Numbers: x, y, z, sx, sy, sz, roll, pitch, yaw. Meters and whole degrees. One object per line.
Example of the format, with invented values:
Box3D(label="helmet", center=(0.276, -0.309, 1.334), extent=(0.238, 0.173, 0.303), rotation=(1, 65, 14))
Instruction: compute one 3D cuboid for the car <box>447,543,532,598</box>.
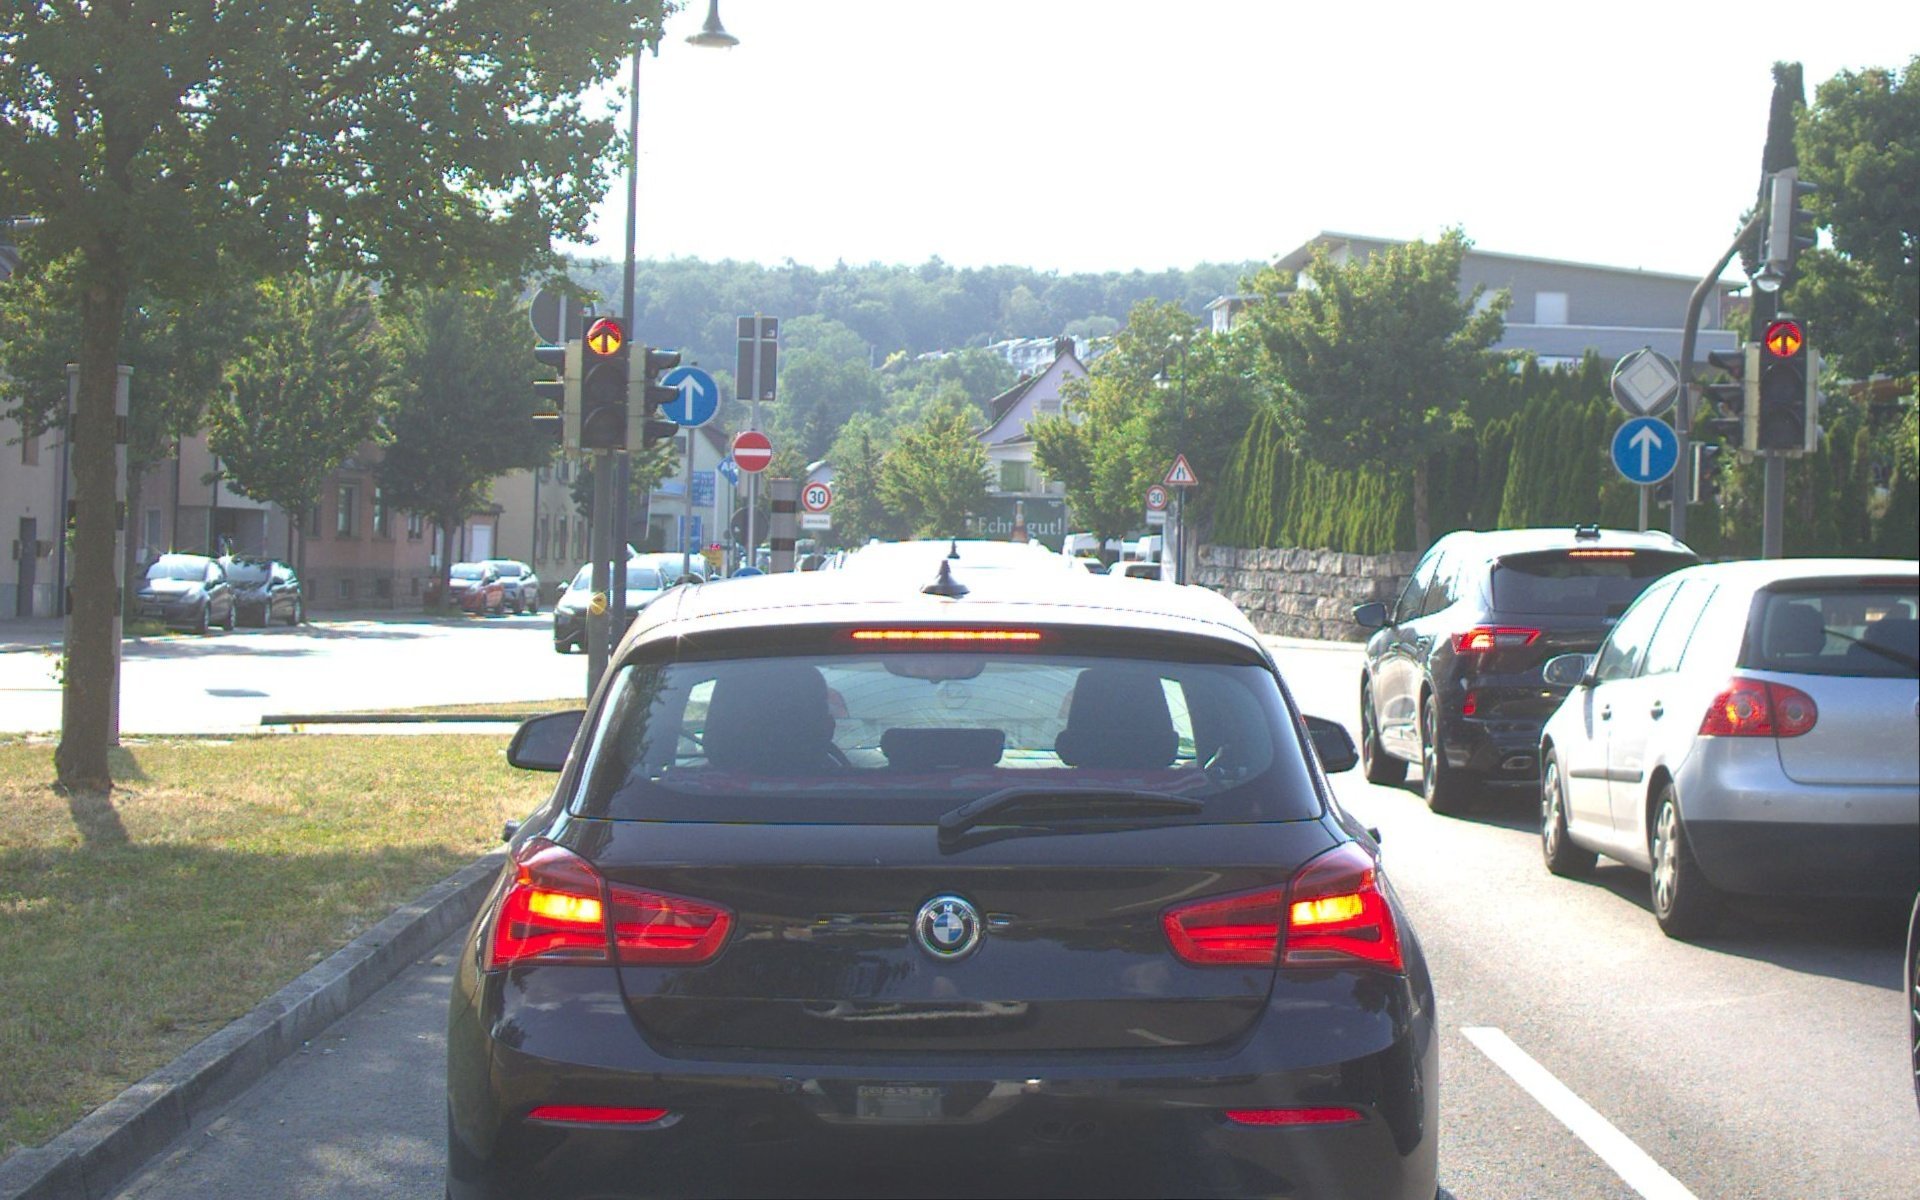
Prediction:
Box3D(label="car", center=(-14.139, -0.894, 103.437), extent=(1.924, 1.590, 4.000), rotation=(1, 1, 1))

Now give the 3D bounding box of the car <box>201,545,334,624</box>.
Box3D(label="car", center=(-14.712, -0.353, 73.205), extent=(1.924, 1.590, 4.000), rotation=(1, 1, 1))

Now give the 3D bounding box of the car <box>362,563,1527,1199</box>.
Box3D(label="car", center=(0.005, 0.649, 7.492), extent=(1.791, 1.410, 4.347), rotation=(1, 1, 1))

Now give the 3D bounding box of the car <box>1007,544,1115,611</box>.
Box3D(label="car", center=(2.335, -0.555, 80.489), extent=(1.861, 1.480, 4.660), rotation=(1, 1, -6))

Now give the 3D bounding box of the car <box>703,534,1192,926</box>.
Box3D(label="car", center=(-0.014, 0.449, 14.992), extent=(1.816, 1.446, 4.242), rotation=(1, 1, 1))

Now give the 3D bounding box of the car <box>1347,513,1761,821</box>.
Box3D(label="car", center=(3.486, 0.328, 20.943), extent=(1.816, 1.660, 4.347), rotation=(1, 1, 1))

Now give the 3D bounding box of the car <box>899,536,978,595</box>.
Box3D(label="car", center=(-0.649, -1.031, 101.300), extent=(1.890, 1.696, 4.525), rotation=(-1, 1, -6))

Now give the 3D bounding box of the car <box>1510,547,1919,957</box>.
Box3D(label="car", center=(3.536, 0.512, 14.394), extent=(1.816, 1.441, 4.347), rotation=(1, 1, 1))

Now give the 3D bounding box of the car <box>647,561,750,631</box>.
Box3D(label="car", center=(-5.281, -0.100, 69.863), extent=(1.693, 1.348, 4.000), rotation=(1, 1, 1))

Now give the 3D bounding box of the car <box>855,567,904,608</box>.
Box3D(label="car", center=(-3.296, -0.540, 140.779), extent=(1.924, 1.590, 4.000), rotation=(1, 1, -1))

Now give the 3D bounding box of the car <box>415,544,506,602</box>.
Box3D(label="car", center=(-14.201, -0.797, 97.932), extent=(1.924, 1.590, 4.000), rotation=(1, 1, 1))

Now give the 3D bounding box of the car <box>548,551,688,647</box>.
Box3D(label="car", center=(-5.503, -0.047, 55.648), extent=(1.766, 1.453, 4.000), rotation=(1, 1, 1))

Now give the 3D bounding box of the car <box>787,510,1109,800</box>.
Box3D(label="car", center=(-0.036, 0.276, 21.742), extent=(1.816, 1.635, 4.242), rotation=(1, 1, 1))

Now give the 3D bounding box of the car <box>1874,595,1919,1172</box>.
Box3D(label="car", center=(3.198, 0.727, 6.520), extent=(1.816, 1.384, 4.347), rotation=(1, 1, 1))

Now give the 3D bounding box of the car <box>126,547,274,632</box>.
Box3D(label="car", center=(-14.856, -0.235, 67.421), extent=(1.924, 1.590, 4.000), rotation=(1, 1, 1))

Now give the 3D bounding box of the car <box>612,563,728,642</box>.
Box3D(label="car", center=(-5.262, 0.027, 62.760), extent=(1.693, 1.348, 4.000), rotation=(1, 1, 1))
